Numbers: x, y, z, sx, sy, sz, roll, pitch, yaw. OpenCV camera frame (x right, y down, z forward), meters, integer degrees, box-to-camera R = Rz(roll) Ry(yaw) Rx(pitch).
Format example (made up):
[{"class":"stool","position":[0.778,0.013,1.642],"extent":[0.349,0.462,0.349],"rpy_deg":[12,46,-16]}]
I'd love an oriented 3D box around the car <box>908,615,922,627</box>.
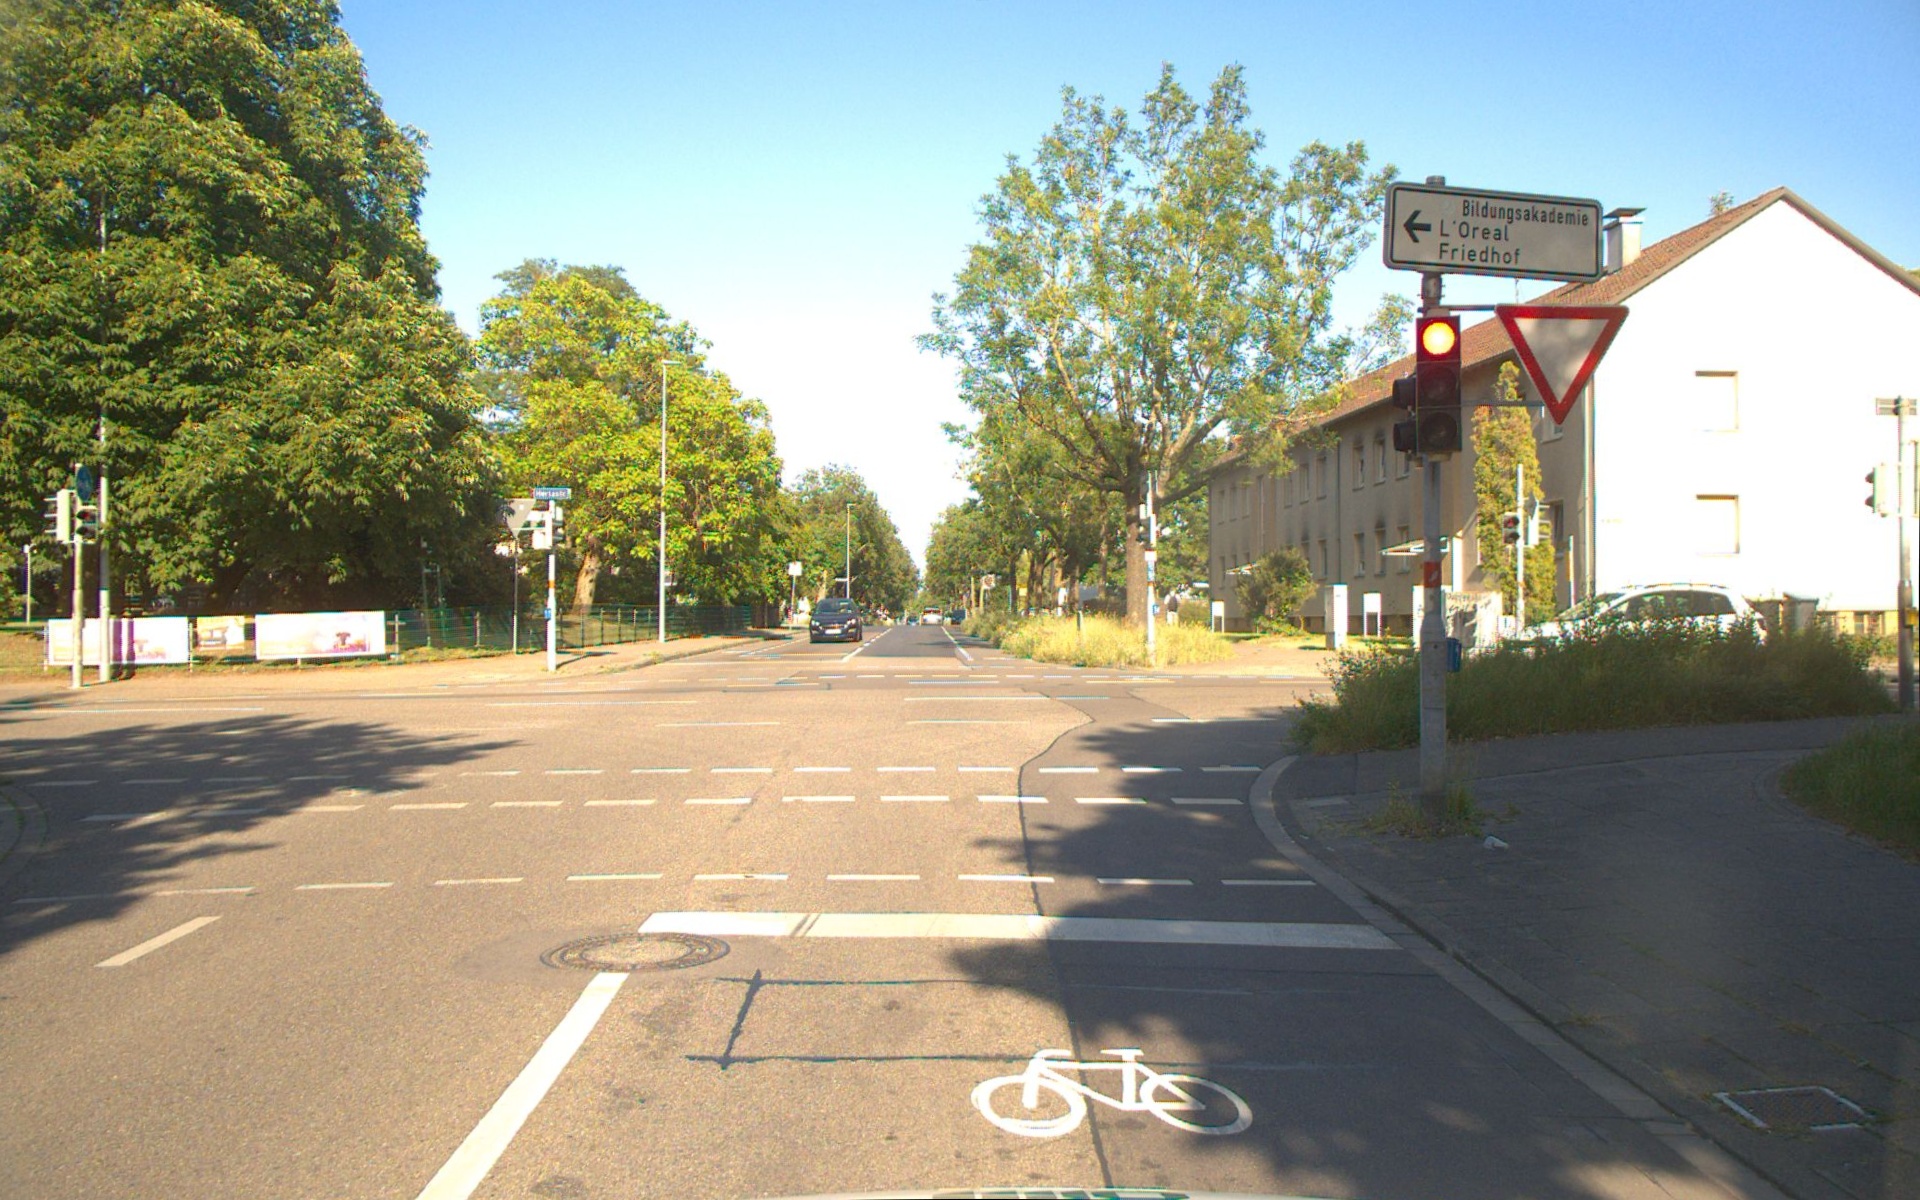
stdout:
[{"class":"car","position":[-6.241,2.934,229.902],"extent":[1.722,1.653,3.268],"rpy_deg":[0,0,0]}]

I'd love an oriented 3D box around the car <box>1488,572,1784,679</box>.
[{"class":"car","position":[10.723,0.399,26.399],"extent":[4.025,1.590,1.756],"rpy_deg":[1,0,-4]}]

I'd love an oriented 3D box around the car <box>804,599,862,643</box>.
[{"class":"car","position":[-4.235,0.674,55.633],"extent":[1.676,1.410,3.471],"rpy_deg":[0,1,0]}]

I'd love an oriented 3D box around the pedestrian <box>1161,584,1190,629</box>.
[{"class":"pedestrian","position":[7.509,0.234,57.669],"extent":[0.825,1.519,0.924],"rpy_deg":[2,0,-1]}]

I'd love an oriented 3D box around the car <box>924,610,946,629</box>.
[{"class":"car","position":[-2.056,1.557,135.438],"extent":[1.807,1.487,3.529],"rpy_deg":[0,1,-1]}]
